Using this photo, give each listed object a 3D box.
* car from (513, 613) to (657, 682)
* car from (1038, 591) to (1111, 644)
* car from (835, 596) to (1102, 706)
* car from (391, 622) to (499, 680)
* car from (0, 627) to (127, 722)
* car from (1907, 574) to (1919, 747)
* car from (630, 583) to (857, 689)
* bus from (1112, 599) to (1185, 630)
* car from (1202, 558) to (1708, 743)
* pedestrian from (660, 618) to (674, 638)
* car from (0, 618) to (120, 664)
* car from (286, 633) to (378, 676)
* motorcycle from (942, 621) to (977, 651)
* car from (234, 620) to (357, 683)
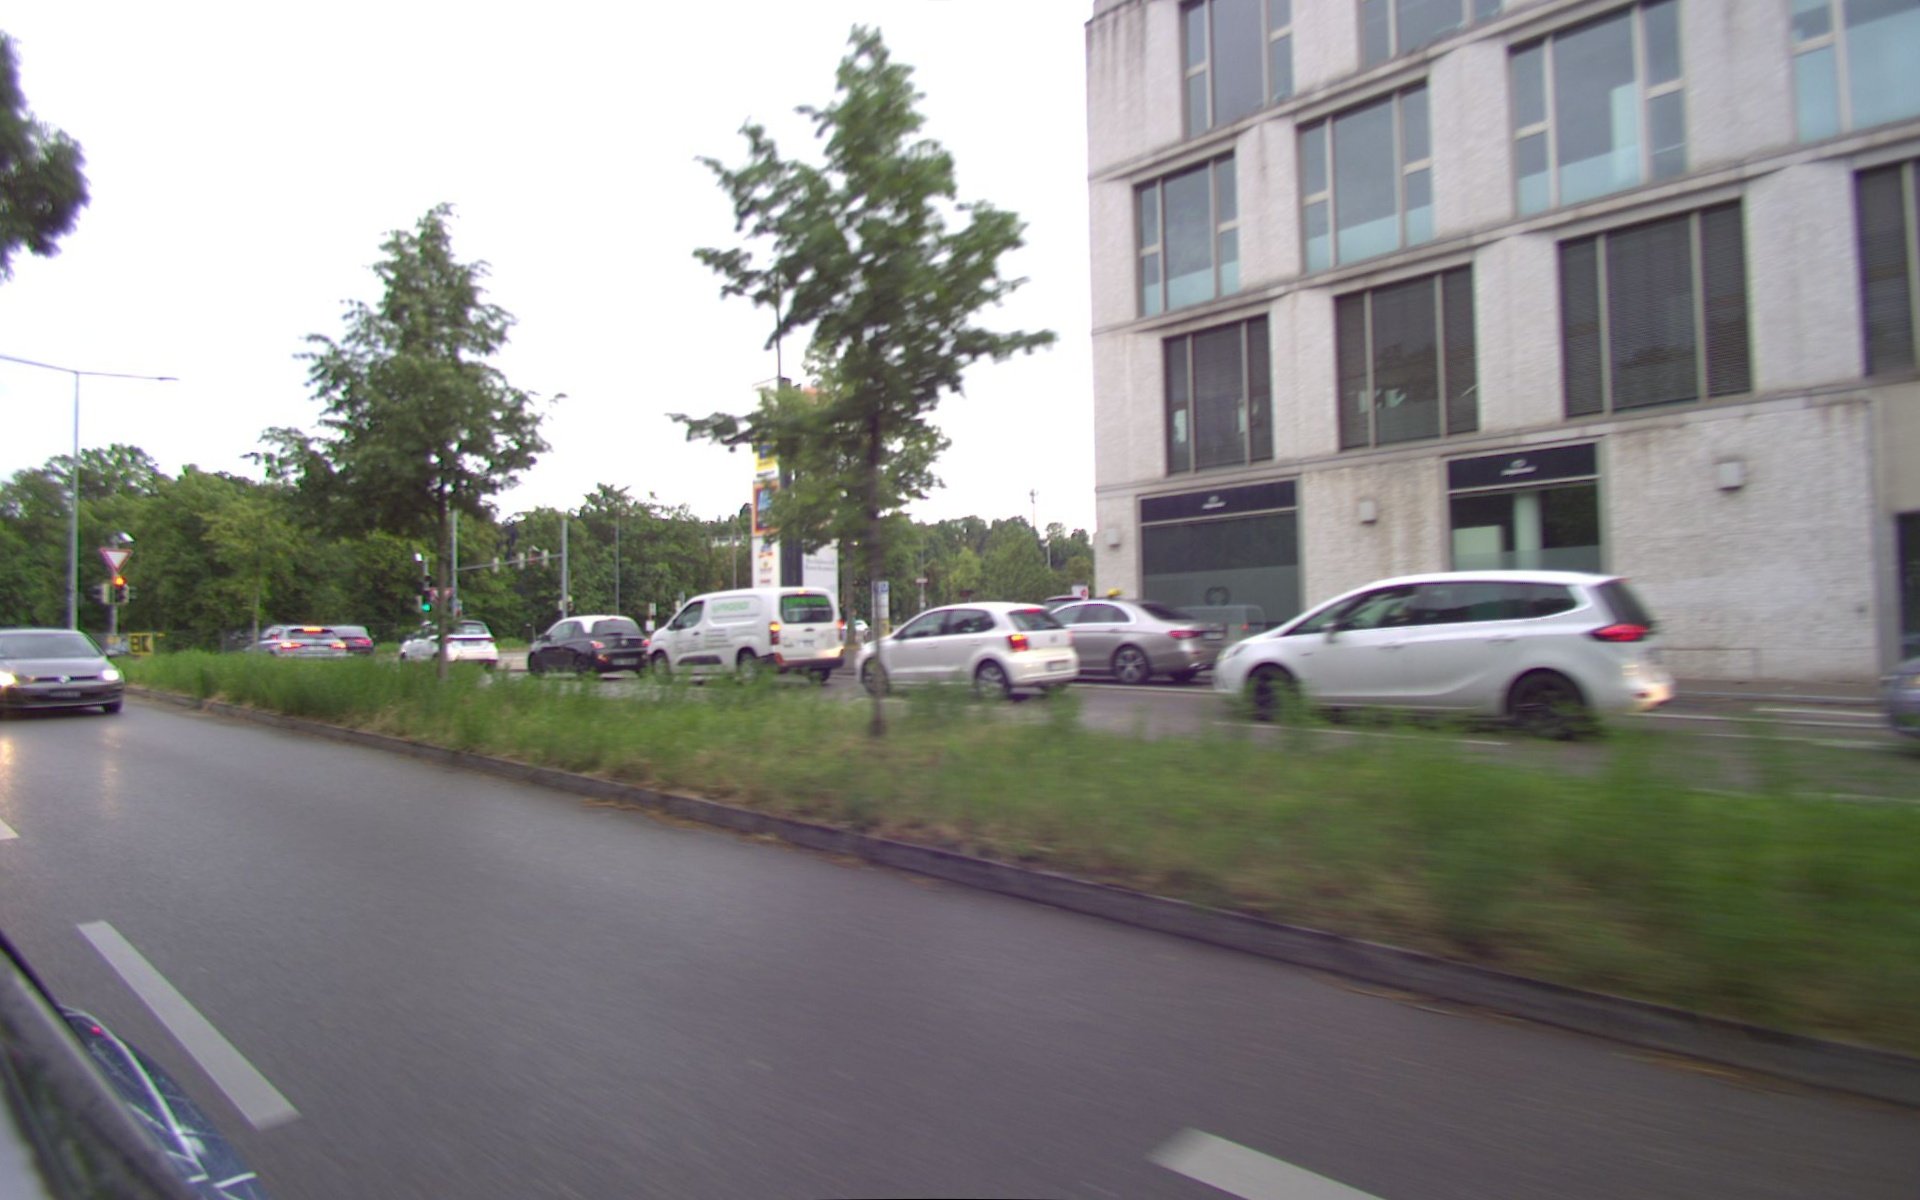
[{"bbox_3d":[-8.790,1.131,23.595,3.750,1.471,1.695,-4,-4,44],"label":"car"},{"bbox_3d":[3.310,0.508,28.895,1.553,1.387,3.280,-2,-2,15],"label":"car"},{"bbox_3d":[0.041,0.726,15.867,4.059,1.479,1.725,-1,0,42],"label":"car"},{"bbox_3d":[-15.030,1.512,29.477,3.701,1.588,1.632,-4,-4,42],"label":"car"},{"bbox_3d":[-15.922,1.238,17.378,3.998,1.450,1.880,-3,-3,41],"label":"car"},{"bbox_3d":[9.613,0.472,7.276,3.994,1.421,1.624,-1,0,41],"label":"car"},{"bbox_3d":[-4.322,0.740,19.675,4.771,1.816,1.824,-4,-2,42],"label":"car"},{"bbox_3d":[19.278,1.530,103.042,2.880,3.012,9.871,-1,-2,40],"label":"bus"},{"bbox_3d":[5.200,0.472,11.070,4.672,1.613,1.810,-1,-1,41],"label":"car"},{"bbox_3d":[-25.281,2.378,87.202,0.822,1.688,0.820,-3,-2,40],"label":"pedestrian"},{"bbox_3d":[-37.340,1.661,41.589,1.892,1.785,3.974,-2,-2,19],"label":"car"},{"bbox_3d":[-23.778,2.077,38.256,4.061,1.531,1.806,-4,-4,40],"label":"car"},{"bbox_3d":[-0.026,1.815,50.389,1.751,1.413,0.522,-4,-2,35],"label":"motorcycle"},{"bbox_3d":[-18.960,1.488,28.822,4.161,1.587,1.830,-5,-2,41],"label":"car"}]
